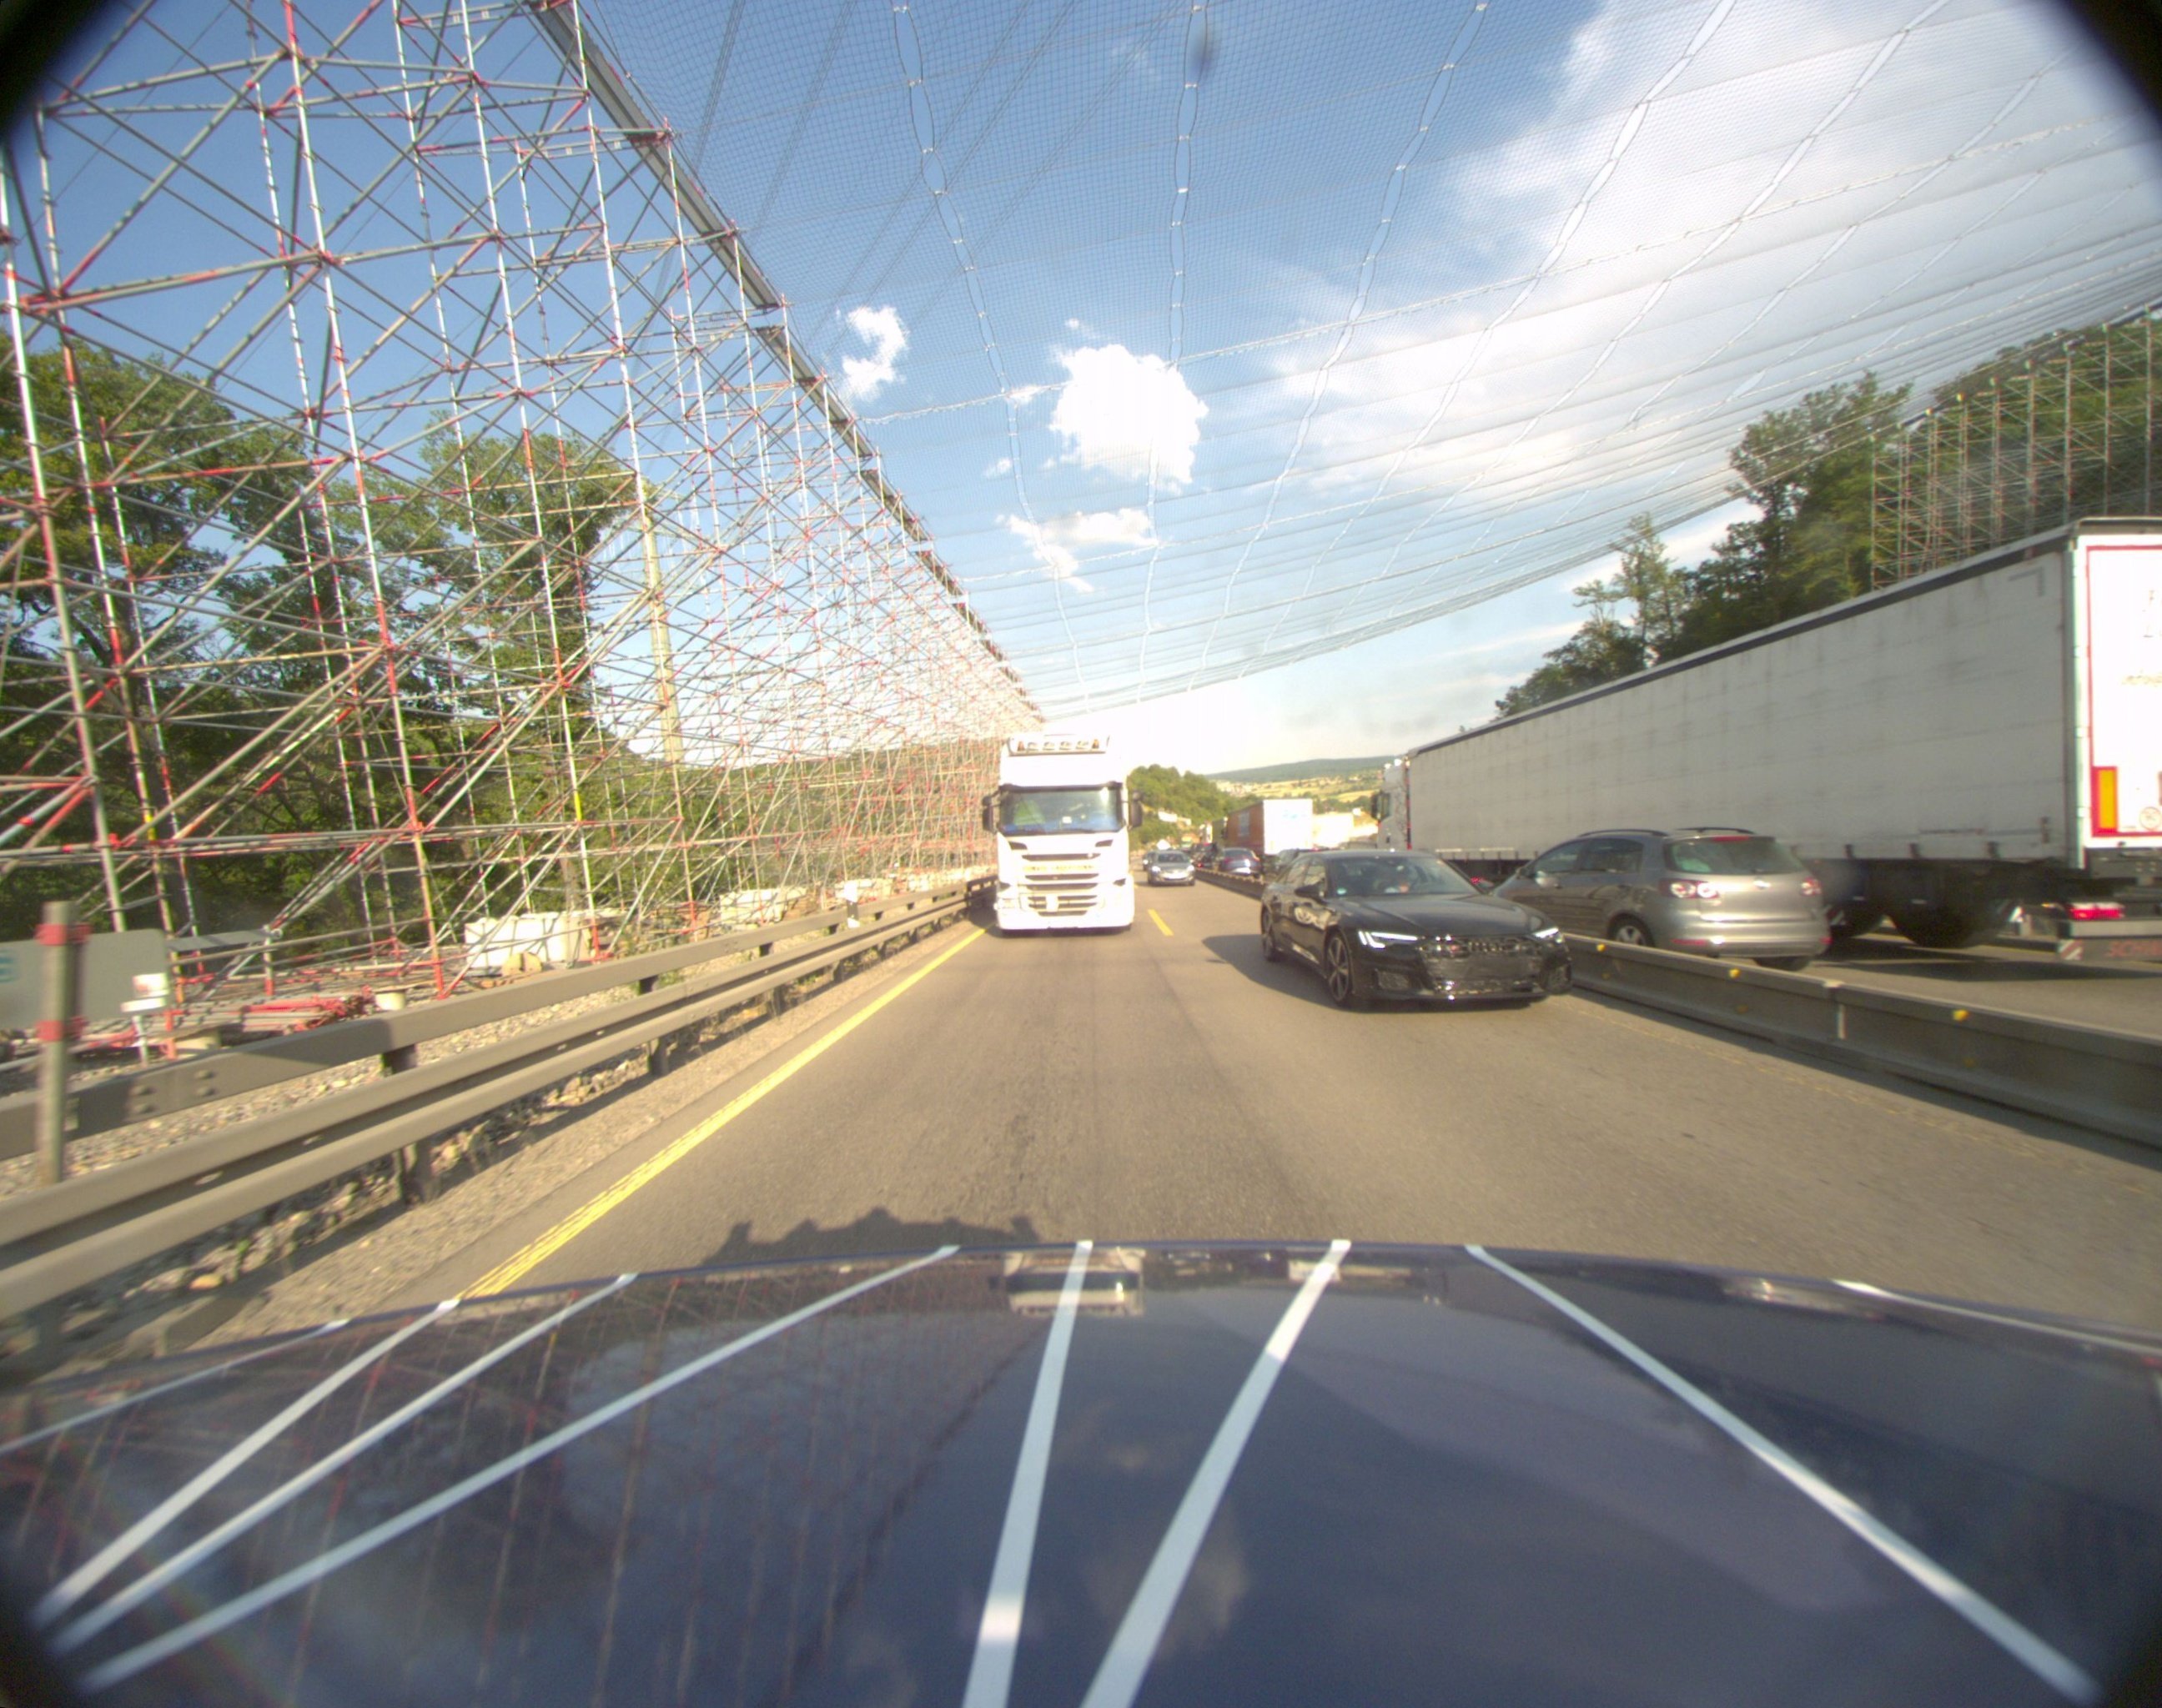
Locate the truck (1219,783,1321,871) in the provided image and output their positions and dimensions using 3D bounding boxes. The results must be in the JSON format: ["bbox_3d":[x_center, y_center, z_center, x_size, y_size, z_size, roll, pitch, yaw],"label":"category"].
[{"bbox_3d":[11.547,-1.520,48.784,2.994,4.532,17.408,-2,1,3],"label":"truck"}]

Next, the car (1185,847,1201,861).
[{"bbox_3d":[9.614,-0.044,65.291,1.166,1.107,2.727,-2,1,3],"label":"car"}]

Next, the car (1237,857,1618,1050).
[{"bbox_3d":[3.208,0.785,8.394,1.939,1.390,4.960,-2,0,1],"label":"car"}]

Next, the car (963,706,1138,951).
[{"bbox_3d":[-0.359,-0.470,17.150,2.858,4.092,8.281,-2,1,2],"label":"car"}]

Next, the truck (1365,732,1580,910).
[{"bbox_3d":[9.887,-0.766,20.017,2.522,3.885,6.048,-2,1,1],"label":"truck"}]

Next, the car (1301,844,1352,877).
[{"bbox_3d":[11.195,0.261,34.792,1.371,1.407,3.293,-2,1,3],"label":"car"}]

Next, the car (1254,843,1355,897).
[{"bbox_3d":[7.190,0.450,24.944,1.939,1.525,4.645,-2,1,1],"label":"car"}]

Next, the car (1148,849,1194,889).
[{"bbox_3d":[3.741,0.583,32.187,1.759,1.464,4.354,-2,1,5],"label":"car"}]

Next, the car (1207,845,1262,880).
[{"bbox_3d":[7.459,0.378,37.391,1.939,1.510,4.978,-2,1,3],"label":"car"}]

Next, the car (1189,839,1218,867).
[{"bbox_3d":[8.602,-0.093,53.421,1.726,1.816,3.294,-2,1,5],"label":"car"}]

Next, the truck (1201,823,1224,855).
[{"bbox_3d":[21.026,-2.400,122.079,3.166,4.817,14.364,-2,1,8],"label":"truck"}]

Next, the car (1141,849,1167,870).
[{"bbox_3d":[5.186,0.387,54.548,1.764,1.376,3.823,-2,1,4],"label":"car"}]

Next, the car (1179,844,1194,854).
[{"bbox_3d":[13.310,-0.637,95.945,1.402,1.227,3.292,-2,1,1],"label":"car"}]

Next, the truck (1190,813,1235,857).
[{"bbox_3d":[15.033,-2.100,88.583,2.994,4.532,17.408,-2,1,3],"label":"truck"}]

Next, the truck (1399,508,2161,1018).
[{"bbox_3d":[9.891,-0.864,13.375,2.728,4.202,14.166,-2,1,1],"label":"truck"}]

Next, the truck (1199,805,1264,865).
[{"bbox_3d":[13.001,-1.549,67.513,2.994,4.532,17.408,-2,1,3],"label":"truck"}]

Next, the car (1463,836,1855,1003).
[{"bbox_3d":[6.599,0.601,9.378,1.586,1.543,4.217,-2,1,0],"label":"car"}]
